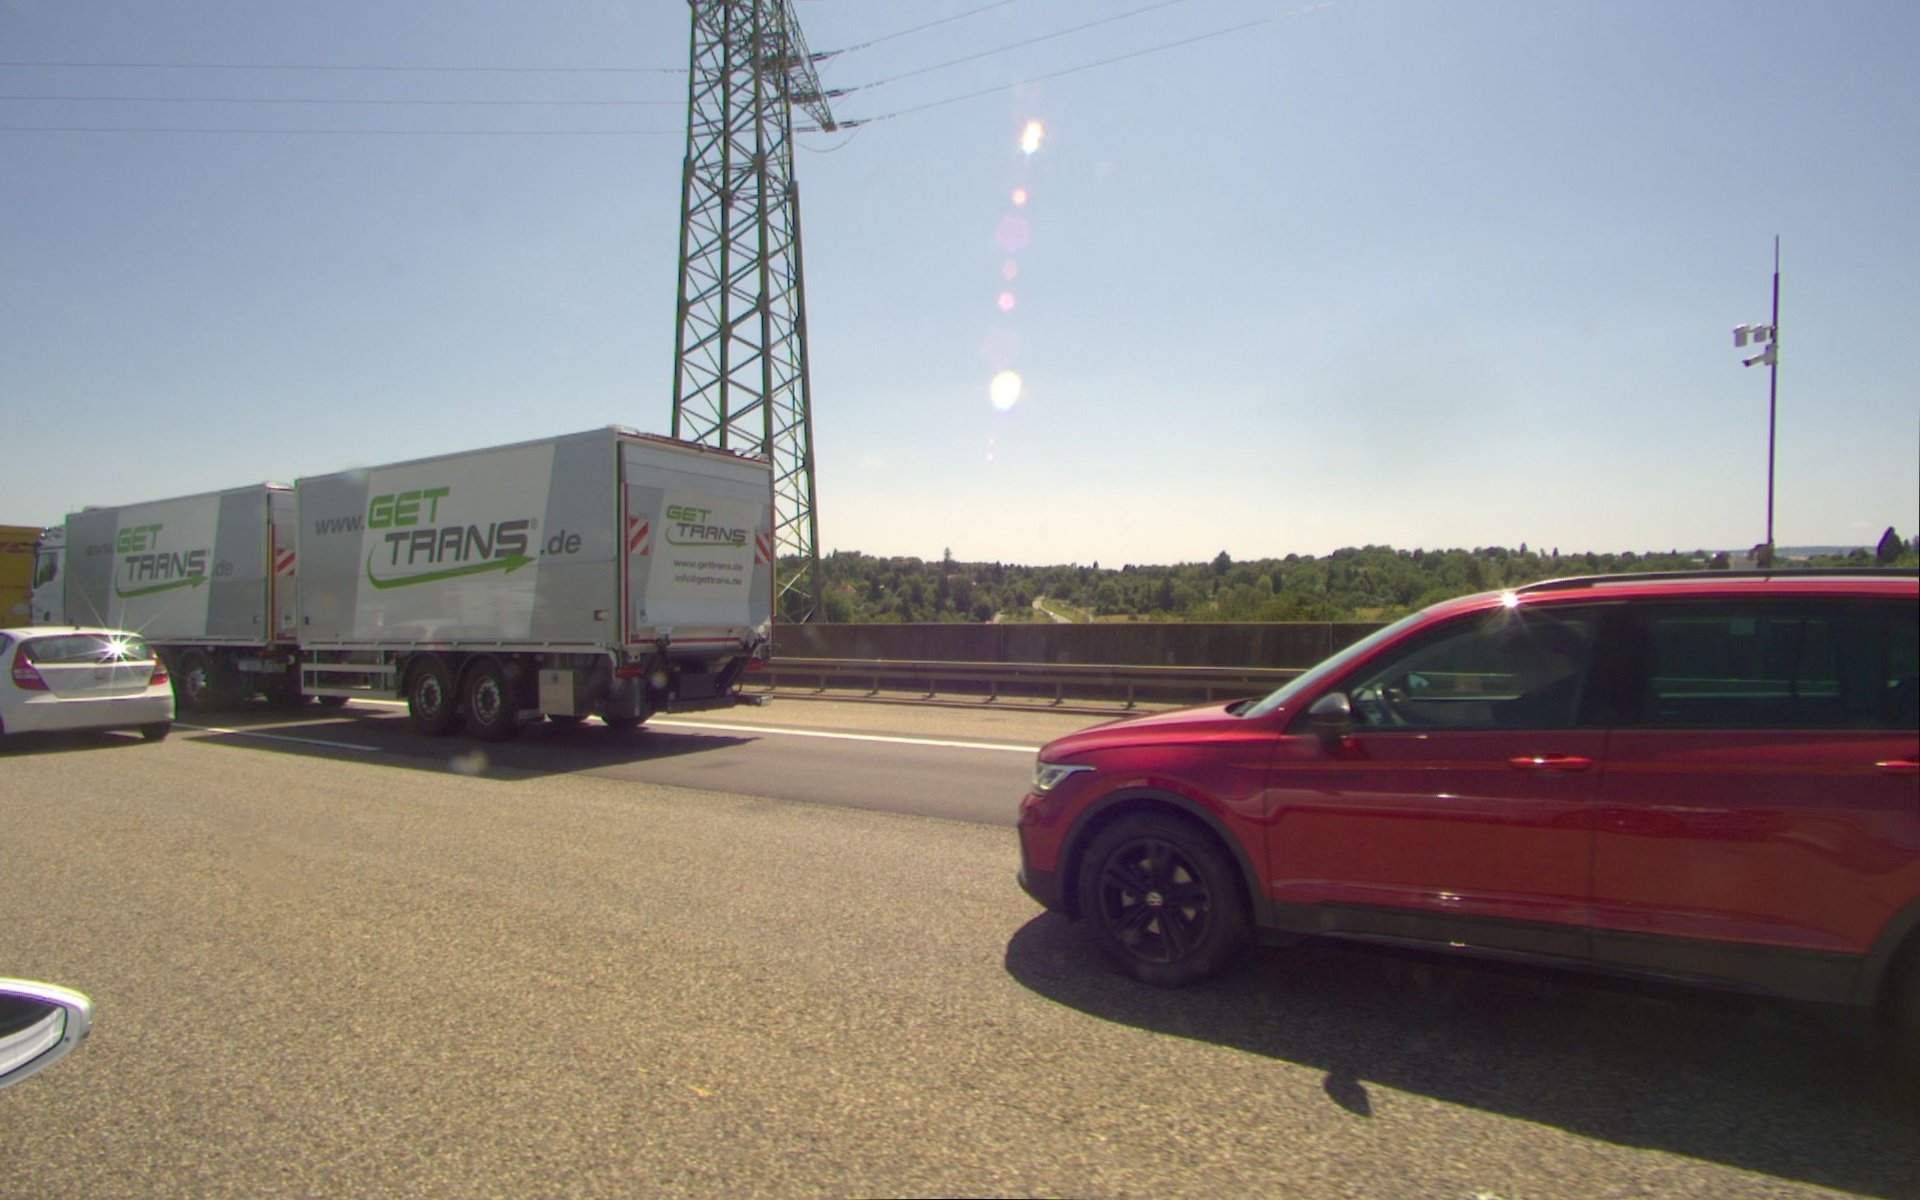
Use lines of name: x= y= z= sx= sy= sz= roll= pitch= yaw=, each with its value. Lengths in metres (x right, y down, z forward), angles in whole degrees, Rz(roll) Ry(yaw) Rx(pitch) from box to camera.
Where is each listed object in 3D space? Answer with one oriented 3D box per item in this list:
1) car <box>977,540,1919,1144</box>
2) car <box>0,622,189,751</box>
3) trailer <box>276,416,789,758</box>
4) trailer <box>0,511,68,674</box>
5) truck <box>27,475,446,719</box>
car: x=2.300 y=0.701 z=4.076 sx=4.163 sy=1.683 sz=1.772 roll=-1 pitch=-1 yaw=32
car: x=-12.296 y=1.040 z=13.416 sx=4.232 sy=1.474 sz=1.785 roll=-1 pitch=-1 yaw=32
trailer: x=-6.308 y=-0.086 z=14.221 sx=7.899 sy=3.748 sz=2.693 roll=-1 pitch=0 yaw=32
trailer: x=-29.134 y=-0.118 z=28.790 sx=8.883 sy=4.293 sz=2.860 roll=-1 pitch=-2 yaw=32
truck: x=-14.255 y=0.027 z=19.220 sx=10.851 sy=3.695 sz=2.652 roll=-1 pitch=0 yaw=32
